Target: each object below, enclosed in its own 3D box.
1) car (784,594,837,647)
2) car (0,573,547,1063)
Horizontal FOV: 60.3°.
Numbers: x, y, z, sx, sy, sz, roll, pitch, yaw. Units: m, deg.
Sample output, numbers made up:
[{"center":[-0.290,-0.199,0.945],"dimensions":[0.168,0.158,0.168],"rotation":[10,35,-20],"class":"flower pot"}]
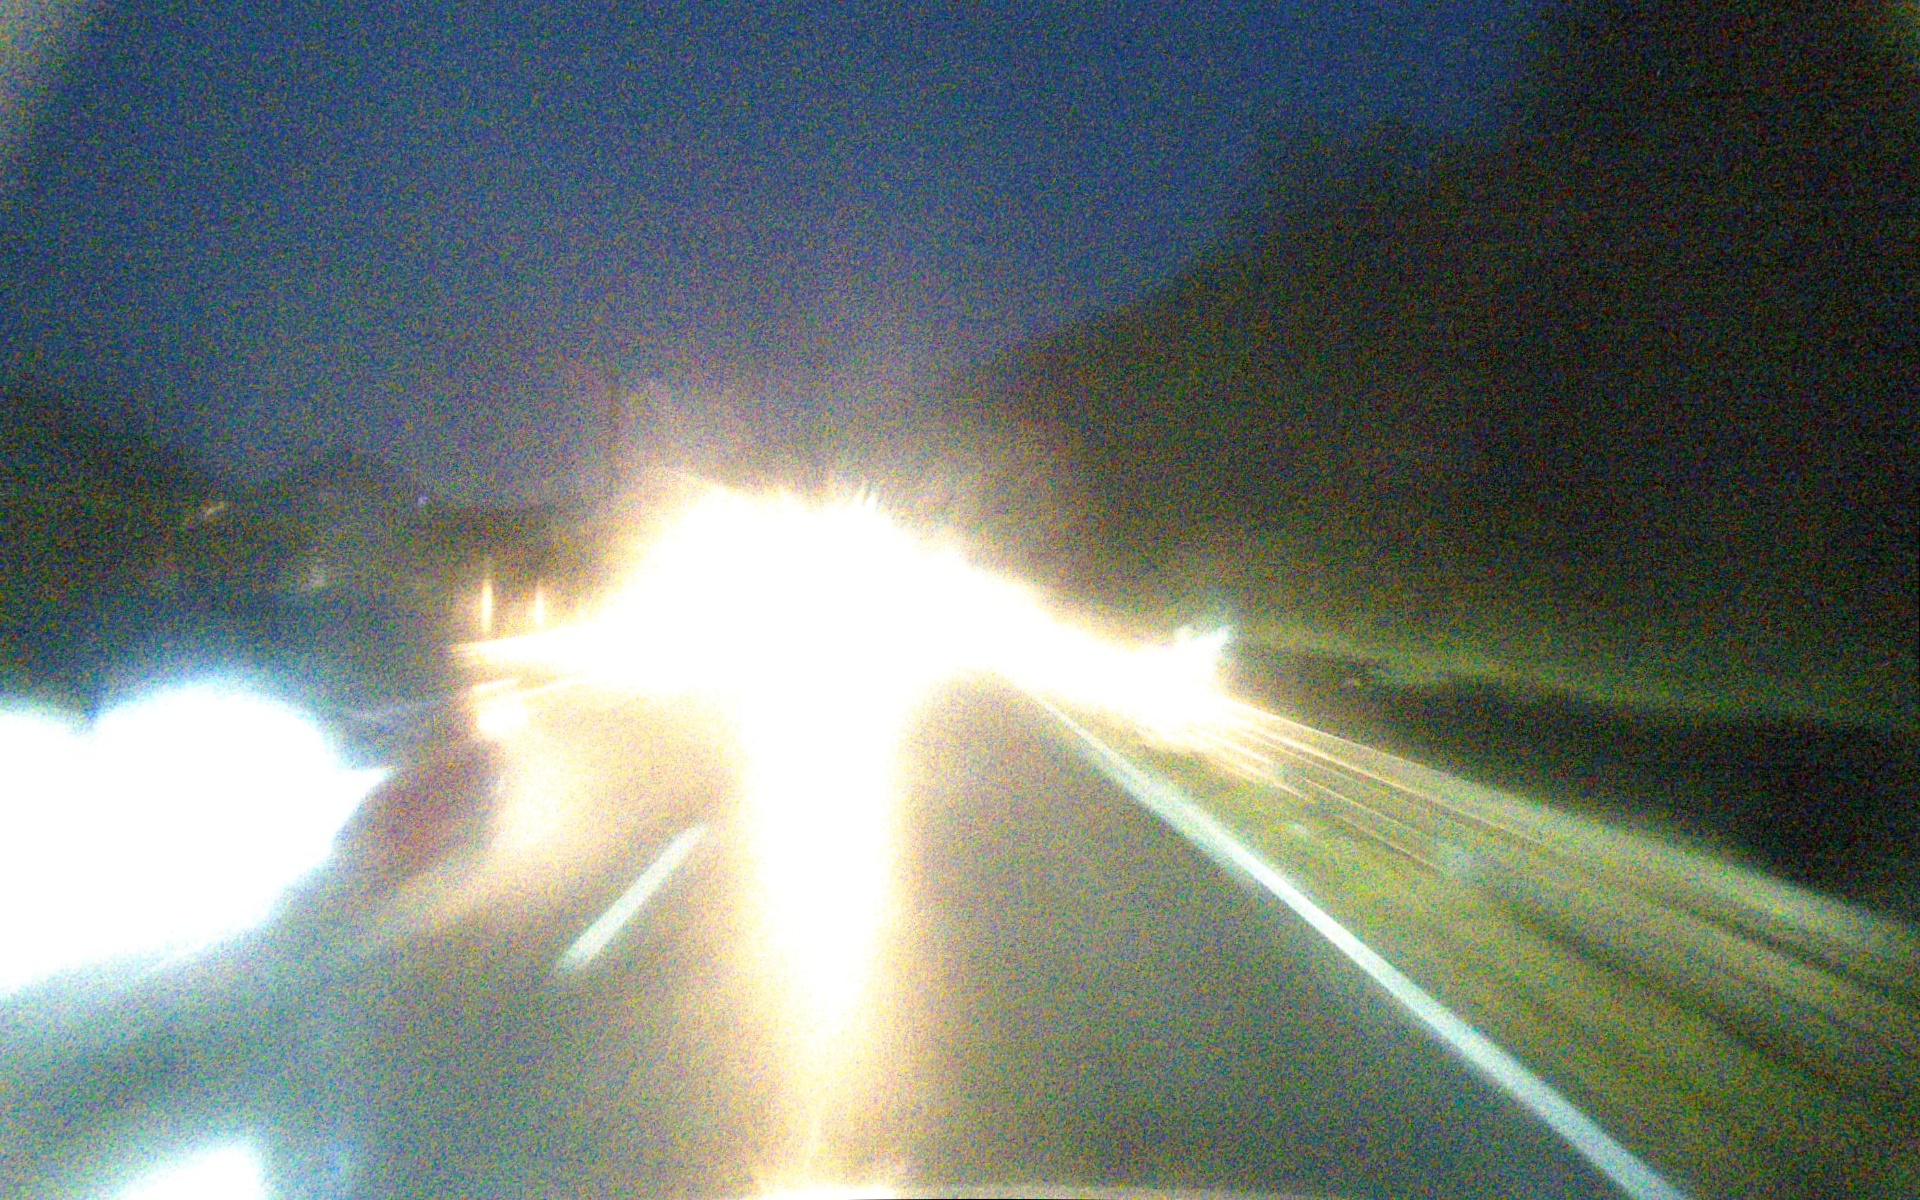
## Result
[{"center":[-5.653,0.748,62.859],"dimensions":[1.796,1.903,4.426],"rotation":[1,0,-3],"class":"car"},{"center":[-3.138,0.662,7.126],"dimensions":[1.795,1.509,4.068],"rotation":[1,0,-2],"class":"car"}]
